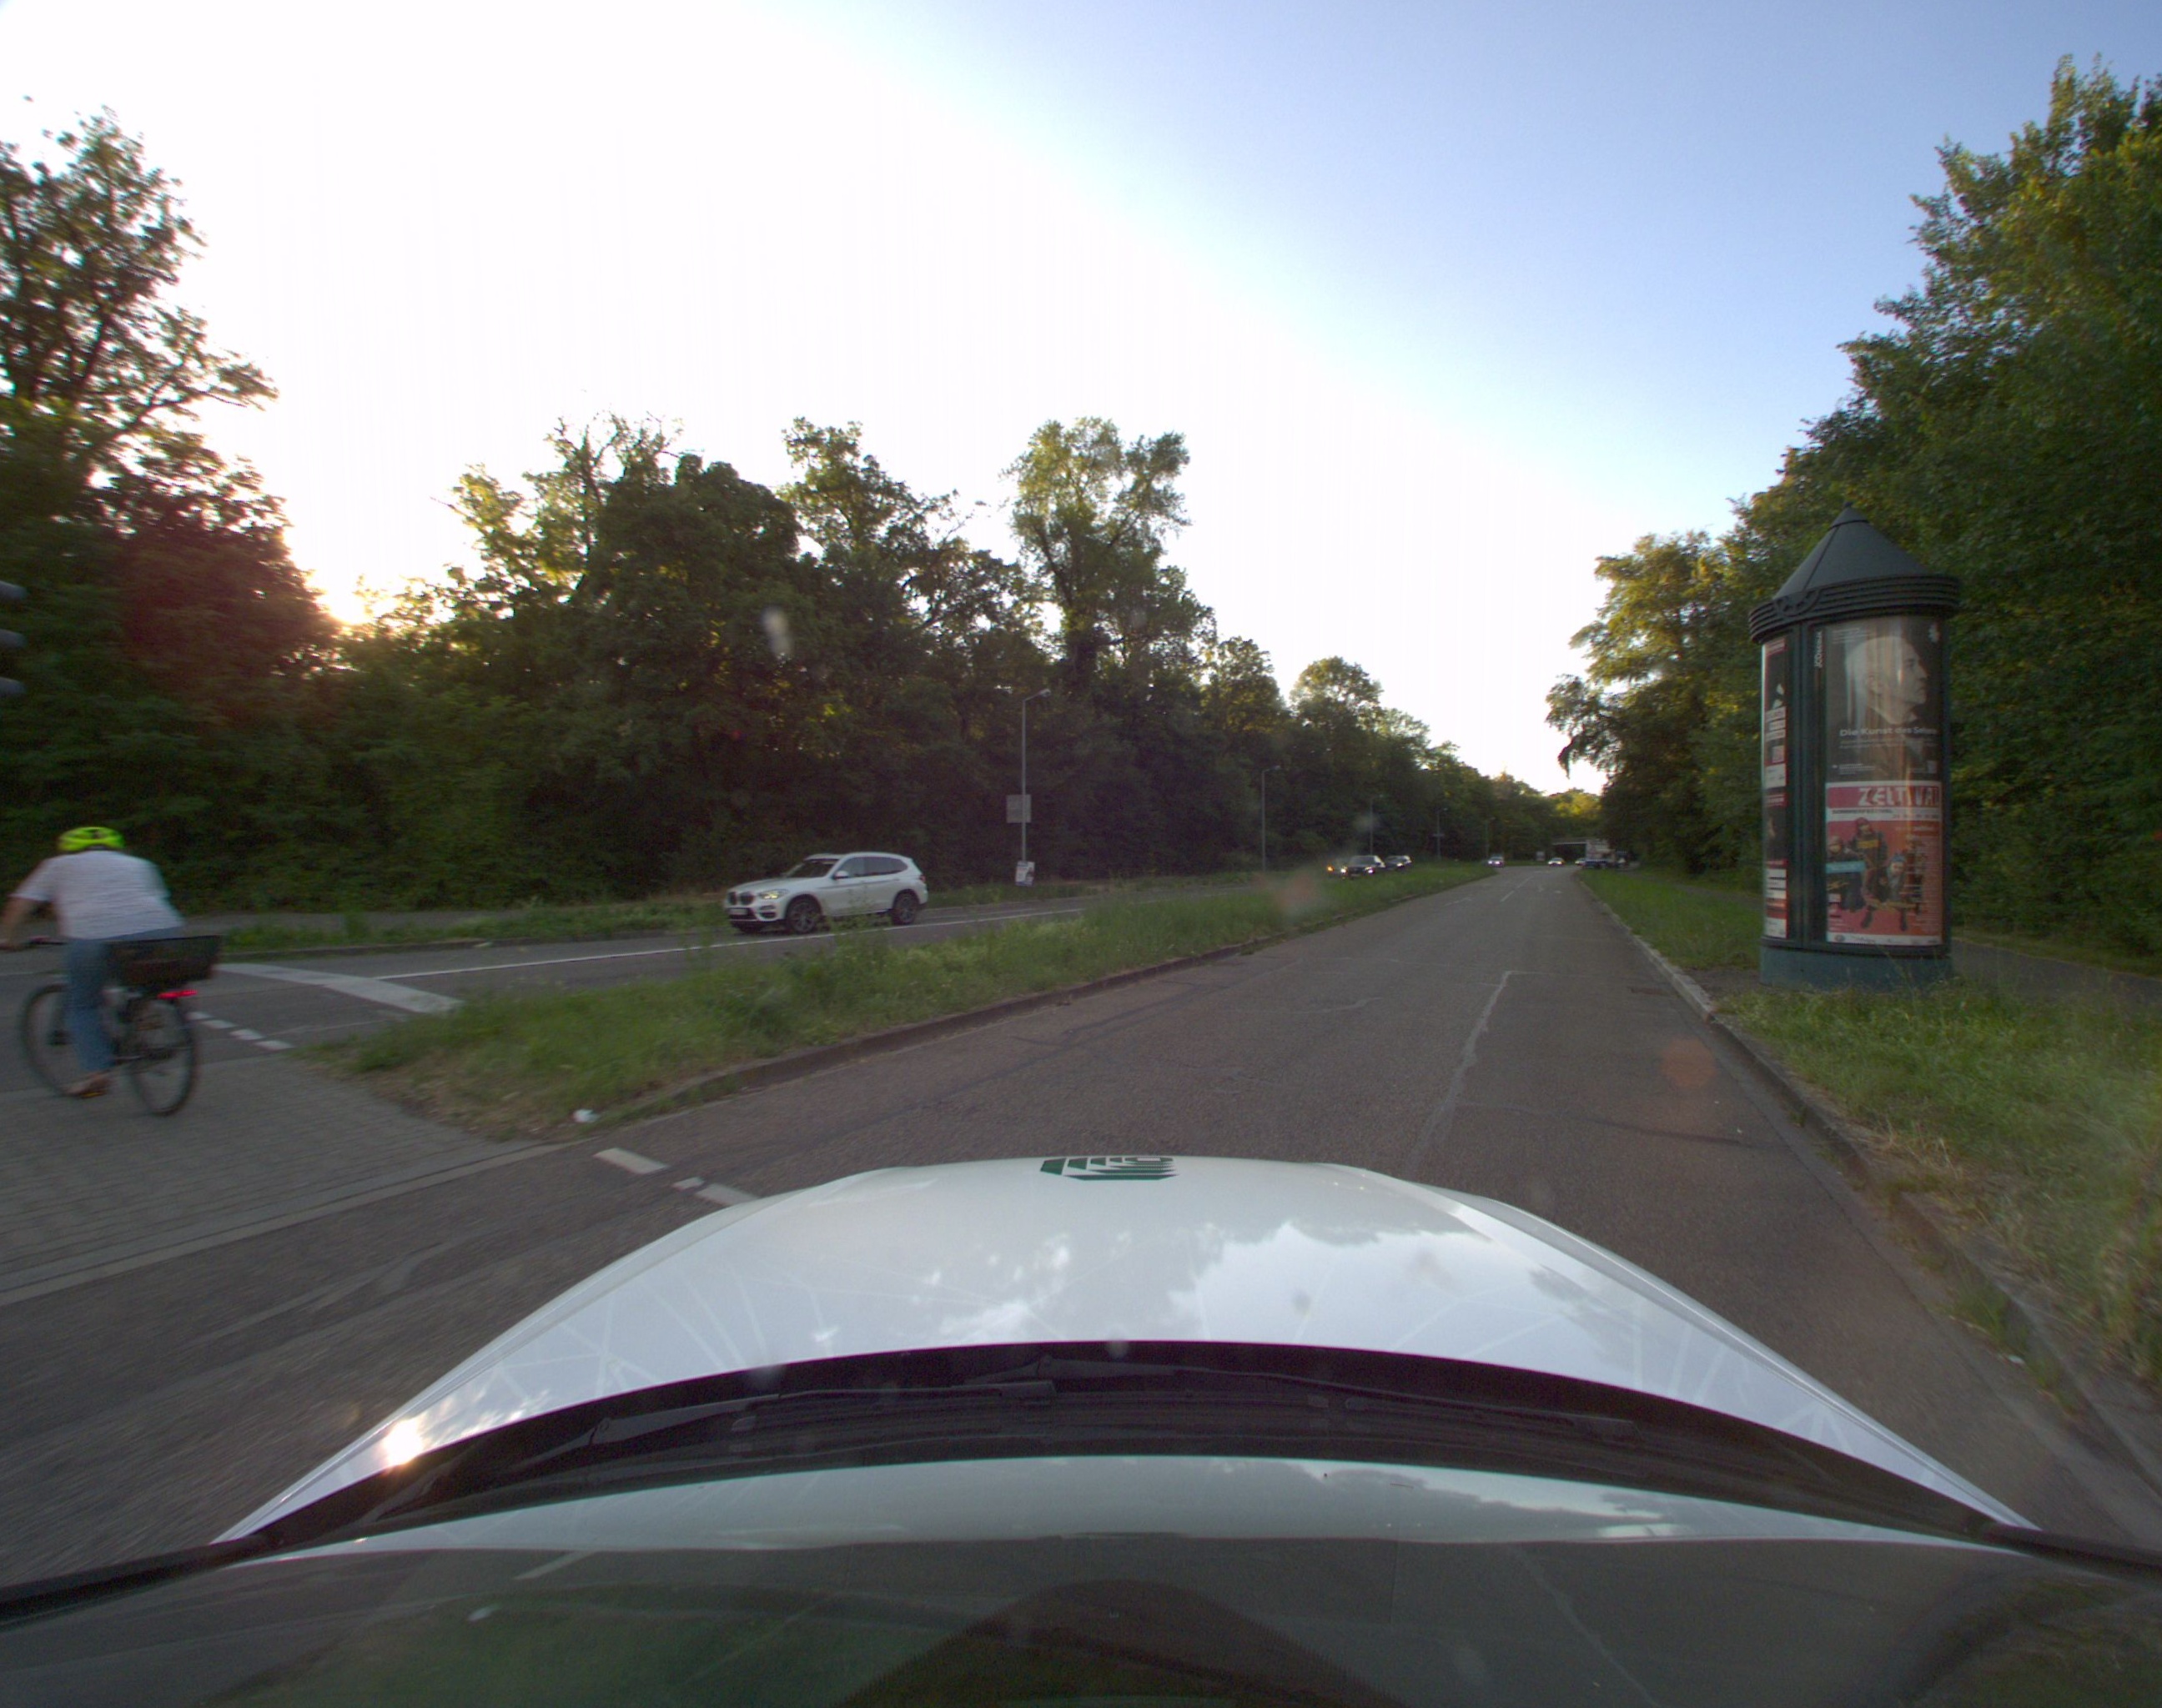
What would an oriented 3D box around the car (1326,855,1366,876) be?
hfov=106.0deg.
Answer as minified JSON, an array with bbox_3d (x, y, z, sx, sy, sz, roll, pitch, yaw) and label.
[{"bbox_3d":[19.314,0.812,59.286,1.805,1.480,4.259,-2,-1,30],"label":"car"}]

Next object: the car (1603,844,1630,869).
[{"bbox_3d":[63.639,0.335,96.849,2.385,2.858,5.969,1,0,32],"label":"car"}]

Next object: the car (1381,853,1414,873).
[{"bbox_3d":[28.245,0.792,72.557,1.974,1.627,4.680,-2,-1,30],"label":"car"}]

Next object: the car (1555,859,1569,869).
[{"bbox_3d":[82.671,1.702,139.827,1.818,1.507,3.962,-1,-2,34],"label":"car"}]

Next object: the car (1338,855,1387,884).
[{"bbox_3d":[16.478,0.886,47.559,1.796,1.627,4.479,-2,-1,30],"label":"car"}]

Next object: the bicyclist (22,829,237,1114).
[{"bbox_3d":[-5.706,0.646,4.895,0.888,1.569,0.558,0,0,21],"label":"bicyclist"}]

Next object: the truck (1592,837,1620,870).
[{"bbox_3d":[67.268,-0.029,104.232,2.632,4.027,9.783,1,0,35],"label":"truck"}]

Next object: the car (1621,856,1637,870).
[{"bbox_3d":[97.310,1.609,144.467,1.974,2.410,5.860,-1,-2,37],"label":"car"}]

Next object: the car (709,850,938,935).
[{"bbox_3d":[-5.438,0.774,17.852,1.804,1.613,4.670,-3,-2,33],"label":"car"}]

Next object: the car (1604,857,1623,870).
[{"bbox_3d":[59.797,1.080,91.455,1.682,1.406,4.101,0,0,32],"label":"car"}]

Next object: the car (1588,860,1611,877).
[{"bbox_3d":[48.024,1.345,75.407,1.648,1.405,3.967,3,1,33],"label":"car"}]

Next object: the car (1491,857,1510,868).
[{"bbox_3d":[58.953,1.199,114.376,1.974,1.458,3.834,-1,-2,33],"label":"car"}]

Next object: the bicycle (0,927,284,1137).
[{"bbox_3d":[-5.680,0.995,4.885,1.781,1.014,0.568,0,0,20],"label":"bicycle"}]
